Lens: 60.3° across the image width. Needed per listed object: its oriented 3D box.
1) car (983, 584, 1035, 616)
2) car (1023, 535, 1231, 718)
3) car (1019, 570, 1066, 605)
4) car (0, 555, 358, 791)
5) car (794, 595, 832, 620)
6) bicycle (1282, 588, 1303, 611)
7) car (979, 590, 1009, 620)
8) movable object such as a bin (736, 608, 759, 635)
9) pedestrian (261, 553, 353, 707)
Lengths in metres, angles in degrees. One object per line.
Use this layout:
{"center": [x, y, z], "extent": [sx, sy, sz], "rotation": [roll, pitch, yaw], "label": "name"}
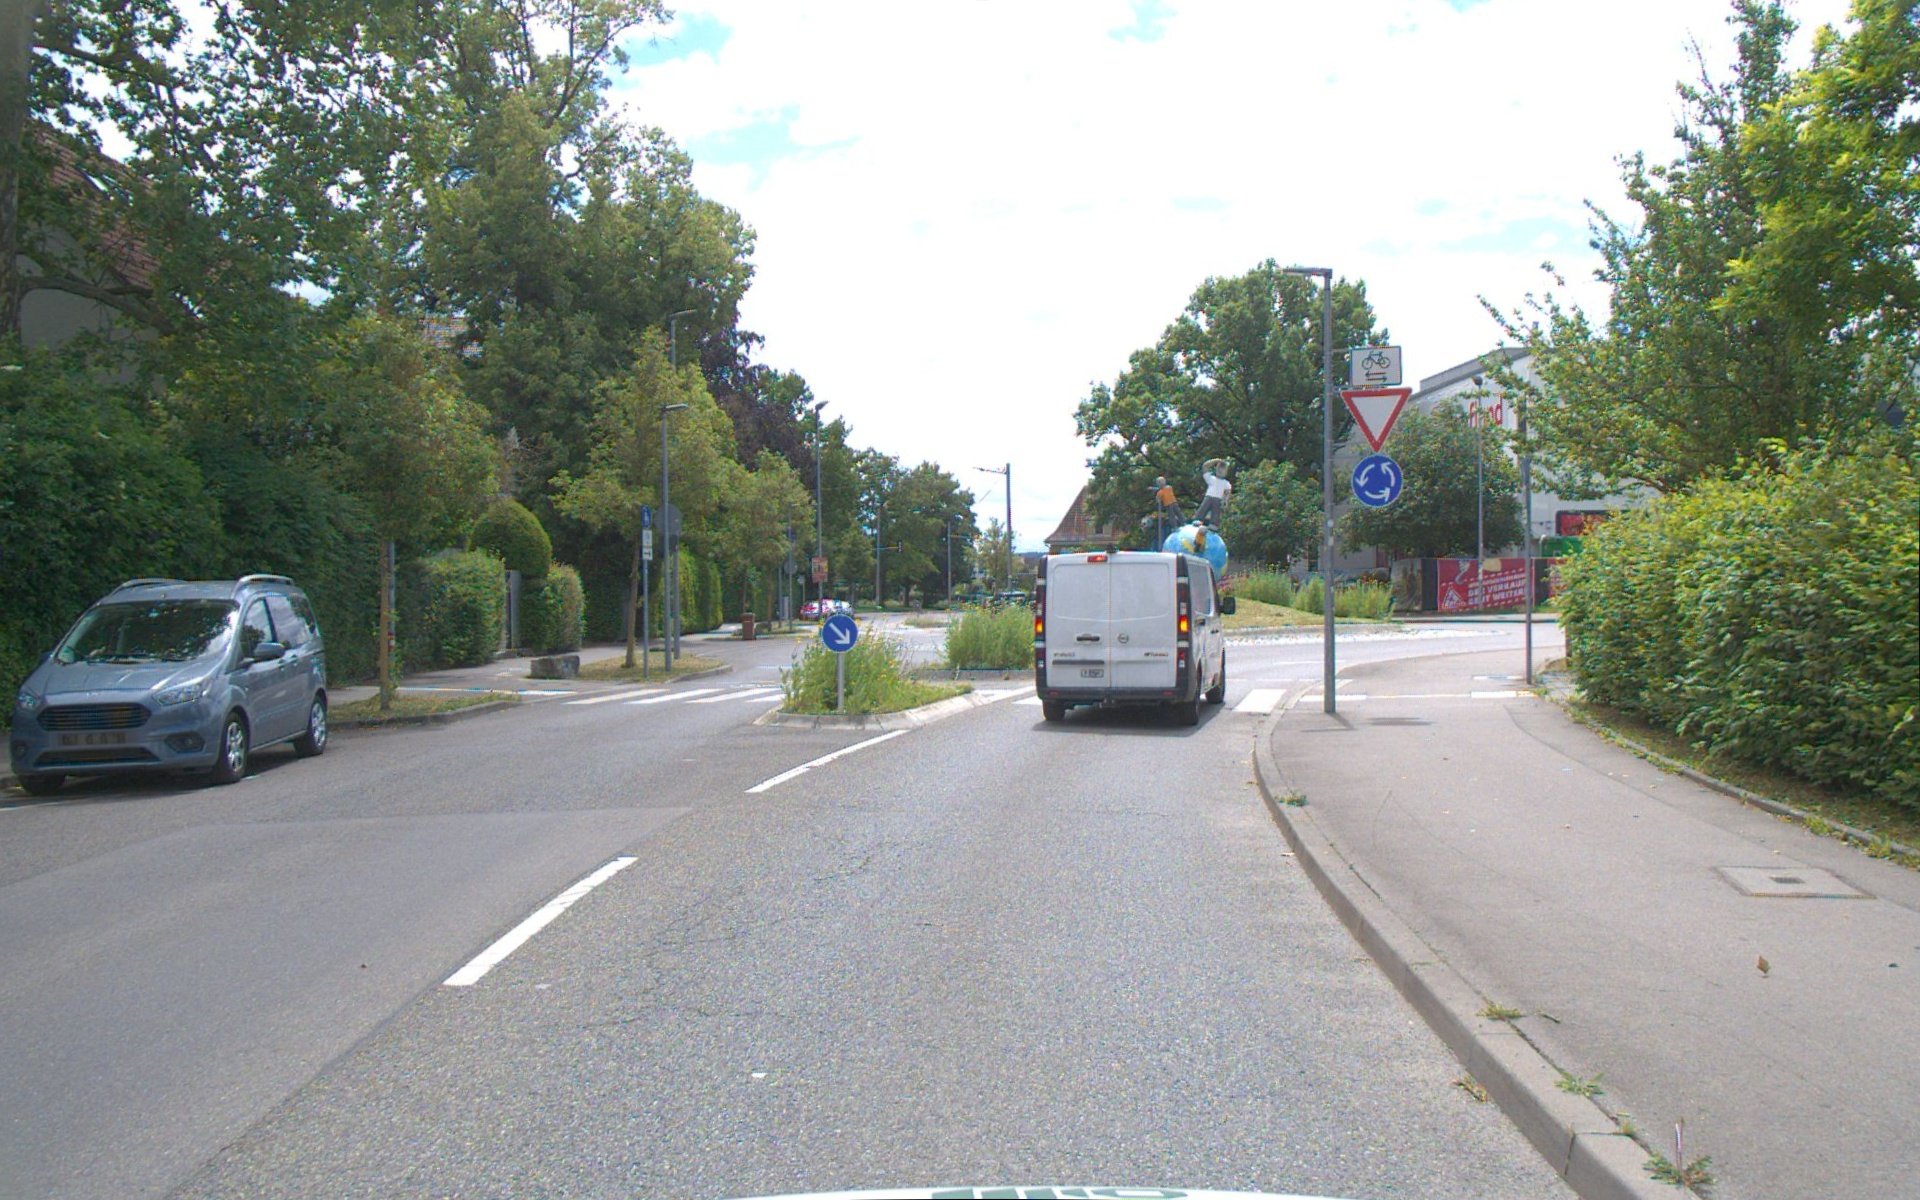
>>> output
{"center": [2.520, -0.028, 86.283], "extent": [1.885, 1.526, 3.914], "rotation": [-1, 1, -12], "label": "car"}
{"center": [2.238, 0.247, 20.777], "extent": [1.991, 1.979, 4.998], "rotation": [1, 1, 13], "label": "car"}
{"center": [3.910, -0.607, 78.735], "extent": [1.894, 1.564, 3.924], "rotation": [0, 1, -2], "label": "car"}
{"center": [-7.069, 0.526, 14.975], "extent": [2.092, 1.803, 4.457], "rotation": [1, 1, -8], "label": "car"}
{"center": [-9.298, 0.469, 104.492], "extent": [2.025, 1.410, 4.038], "rotation": [-1, 1, -10], "label": "car"}
{"center": [15.788, -0.024, 78.567], "extent": [0.529, 1.068, 1.969], "rotation": [1, 1, -1], "label": "bicycle"}
{"center": [2.124, 0.315, 104.553], "extent": [1.858, 1.775, 3.926], "rotation": [0, 1, 1], "label": "car"}
{"center": [-7.343, 0.745, 57.154], "extent": [0.616, 0.878, 0.641], "rotation": [-2, 0, 10], "label": "movable object such as a bin"}
{"center": [-9.034, 0.403, 22.936], "extent": [0.855, 2.049, 1.040], "rotation": [-2, 0, -5], "label": "pedestrian"}
